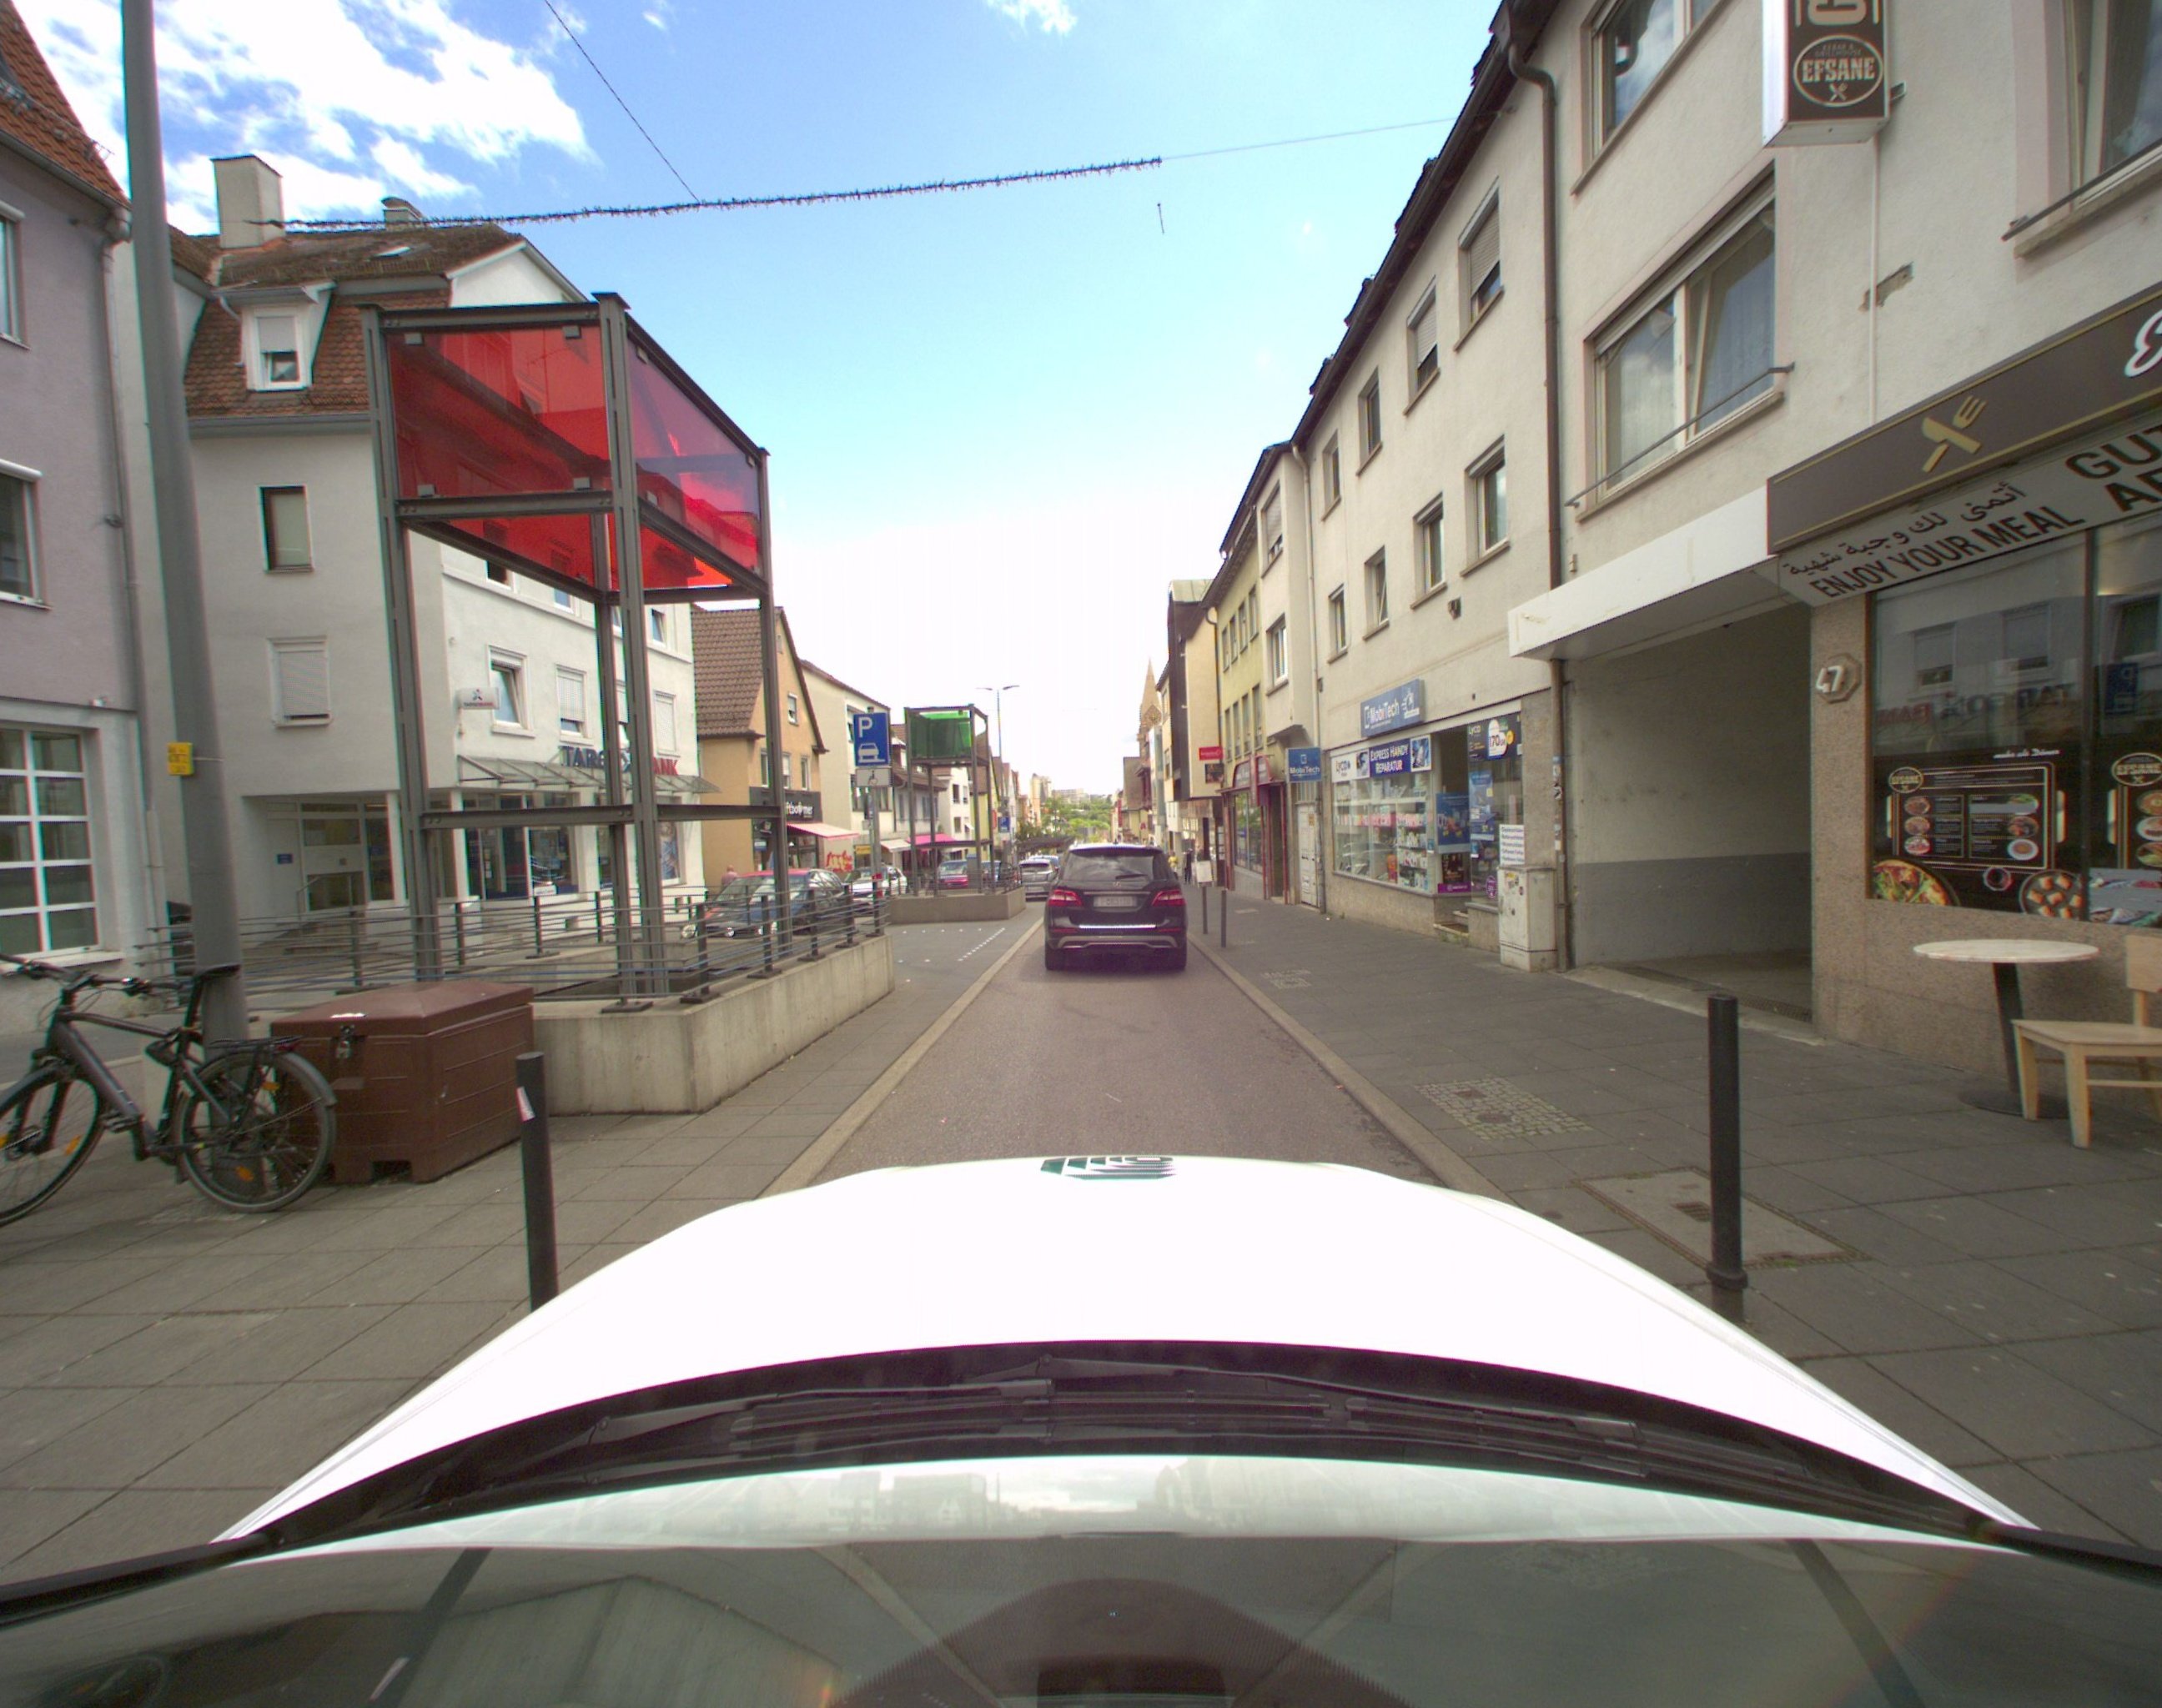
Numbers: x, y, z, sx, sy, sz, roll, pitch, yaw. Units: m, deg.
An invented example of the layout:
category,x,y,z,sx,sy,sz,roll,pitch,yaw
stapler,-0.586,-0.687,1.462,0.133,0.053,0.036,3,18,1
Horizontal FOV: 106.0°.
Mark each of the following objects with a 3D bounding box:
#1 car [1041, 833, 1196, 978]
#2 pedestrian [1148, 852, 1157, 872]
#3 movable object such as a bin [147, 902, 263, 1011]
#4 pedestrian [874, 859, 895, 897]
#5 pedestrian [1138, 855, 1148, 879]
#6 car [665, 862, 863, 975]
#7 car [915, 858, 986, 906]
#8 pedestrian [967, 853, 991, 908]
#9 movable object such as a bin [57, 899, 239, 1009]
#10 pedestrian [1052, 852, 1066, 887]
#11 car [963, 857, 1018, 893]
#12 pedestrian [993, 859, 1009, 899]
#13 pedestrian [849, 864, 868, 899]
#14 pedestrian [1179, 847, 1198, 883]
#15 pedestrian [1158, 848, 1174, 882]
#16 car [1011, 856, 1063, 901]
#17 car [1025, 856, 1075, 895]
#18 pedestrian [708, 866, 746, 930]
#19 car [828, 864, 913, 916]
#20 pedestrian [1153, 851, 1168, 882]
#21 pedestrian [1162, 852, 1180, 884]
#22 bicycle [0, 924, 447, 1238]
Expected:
category,x,y,z,sx,sy,sz,roll,pitch,yaw
car,0.458,0.629,12.179,1.895,1.747,3.999,-2,0,-1
pedestrian,5.895,0.652,67.180,0.572,1.689,0.565,0,-1,-5
movable object such as a bin,-12.039,1.388,11.219,0.687,1.376,0.808,-2,0,1
pedestrian,-8.884,1.061,36.826,0.638,1.689,0.670,-2,-1,41
pedestrian,4.328,0.891,56.695,0.620,1.689,0.565,0,-1,-5
car,-4.707,0.869,12.684,1.563,1.475,3.855,0,-1,0
car,-4.528,0.930,28.800,1.733,1.543,4.194,-1,-1,1
pedestrian,-3.174,0.799,25.364,0.531,1.672,0.902,-2,0,3
movable object such as a bin,-13.013,1.369,11.405,1.279,1.376,1.067,-2,0,1
pedestrian,-1.065,0.754,39.812,0.662,1.638,0.946,-1,-1,-1
car,-3.943,0.872,36.050,1.731,1.475,3.888,0,0,4
pedestrian,-2.943,0.909,30.007,0.465,1.431,0.492,-4,-1,1
pedestrian,-10.203,1.255,37.364,0.563,1.573,0.716,-4,-1,1
pedestrian,5.179,0.527,39.269,0.662,1.689,0.542,-5,0,-5
pedestrian,4.596,0.588,44.088,0.708,1.753,0.785,-2,0,1
car,-1.559,0.865,30.004,1.614,1.532,3.671,-1,-1,1
car,-1.331,0.936,36.497,1.949,1.639,4.315,-1,-1,1
pedestrian,-9.627,1.192,22.185,0.637,1.689,0.827,-1,-1,-1
car,-6.874,1.123,26.989,1.673,1.571,4.123,-1,-1,1
pedestrian,4.570,0.700,46.845,0.708,1.753,0.787,-2,0,1
pedestrian,4.678,0.724,42.381,0.708,1.631,0.835,-4,-1,1
bicycle,-3.961,0.988,3.690,1.772,1.223,0.460,-3,-1,0
